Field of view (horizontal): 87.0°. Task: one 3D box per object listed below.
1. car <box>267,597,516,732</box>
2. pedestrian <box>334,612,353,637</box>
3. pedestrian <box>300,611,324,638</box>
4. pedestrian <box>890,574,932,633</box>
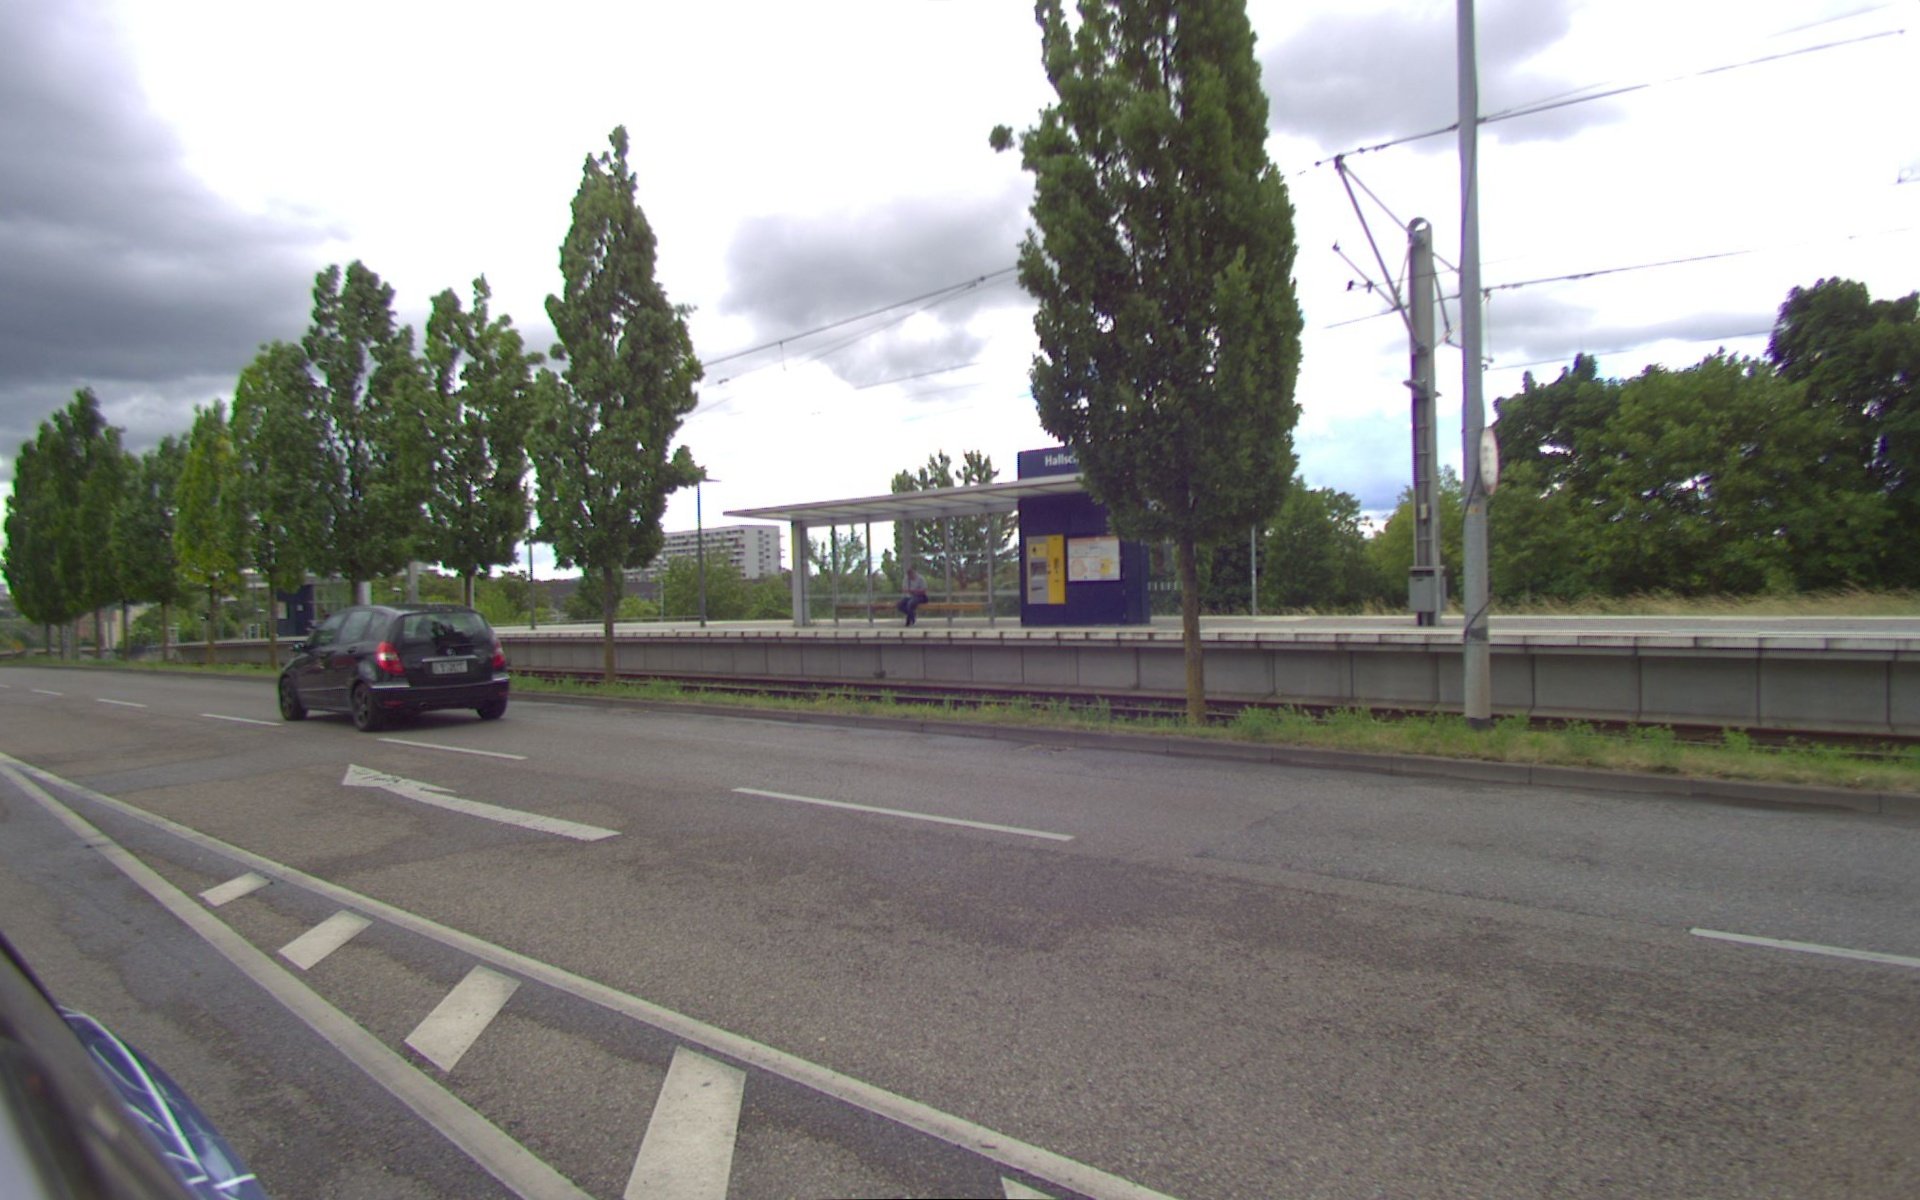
[{"bbox_3d":[-7.813,0.815,13.796,3.702,1.585,1.709,-2,-1,39],"label":"car"},{"bbox_3d":[-28.018,1.118,45.983,0.470,1.087,0.601,-4,-3,40],"label":"pedestrian"},{"bbox_3d":[-29.375,1.114,45.910,0.665,1.208,0.753,-3,-2,41],"label":"pedestrian"},{"bbox_3d":[-1.106,0.078,23.012,0.658,1.279,0.604,-4,-2,36],"label":"pedestrian"}]
